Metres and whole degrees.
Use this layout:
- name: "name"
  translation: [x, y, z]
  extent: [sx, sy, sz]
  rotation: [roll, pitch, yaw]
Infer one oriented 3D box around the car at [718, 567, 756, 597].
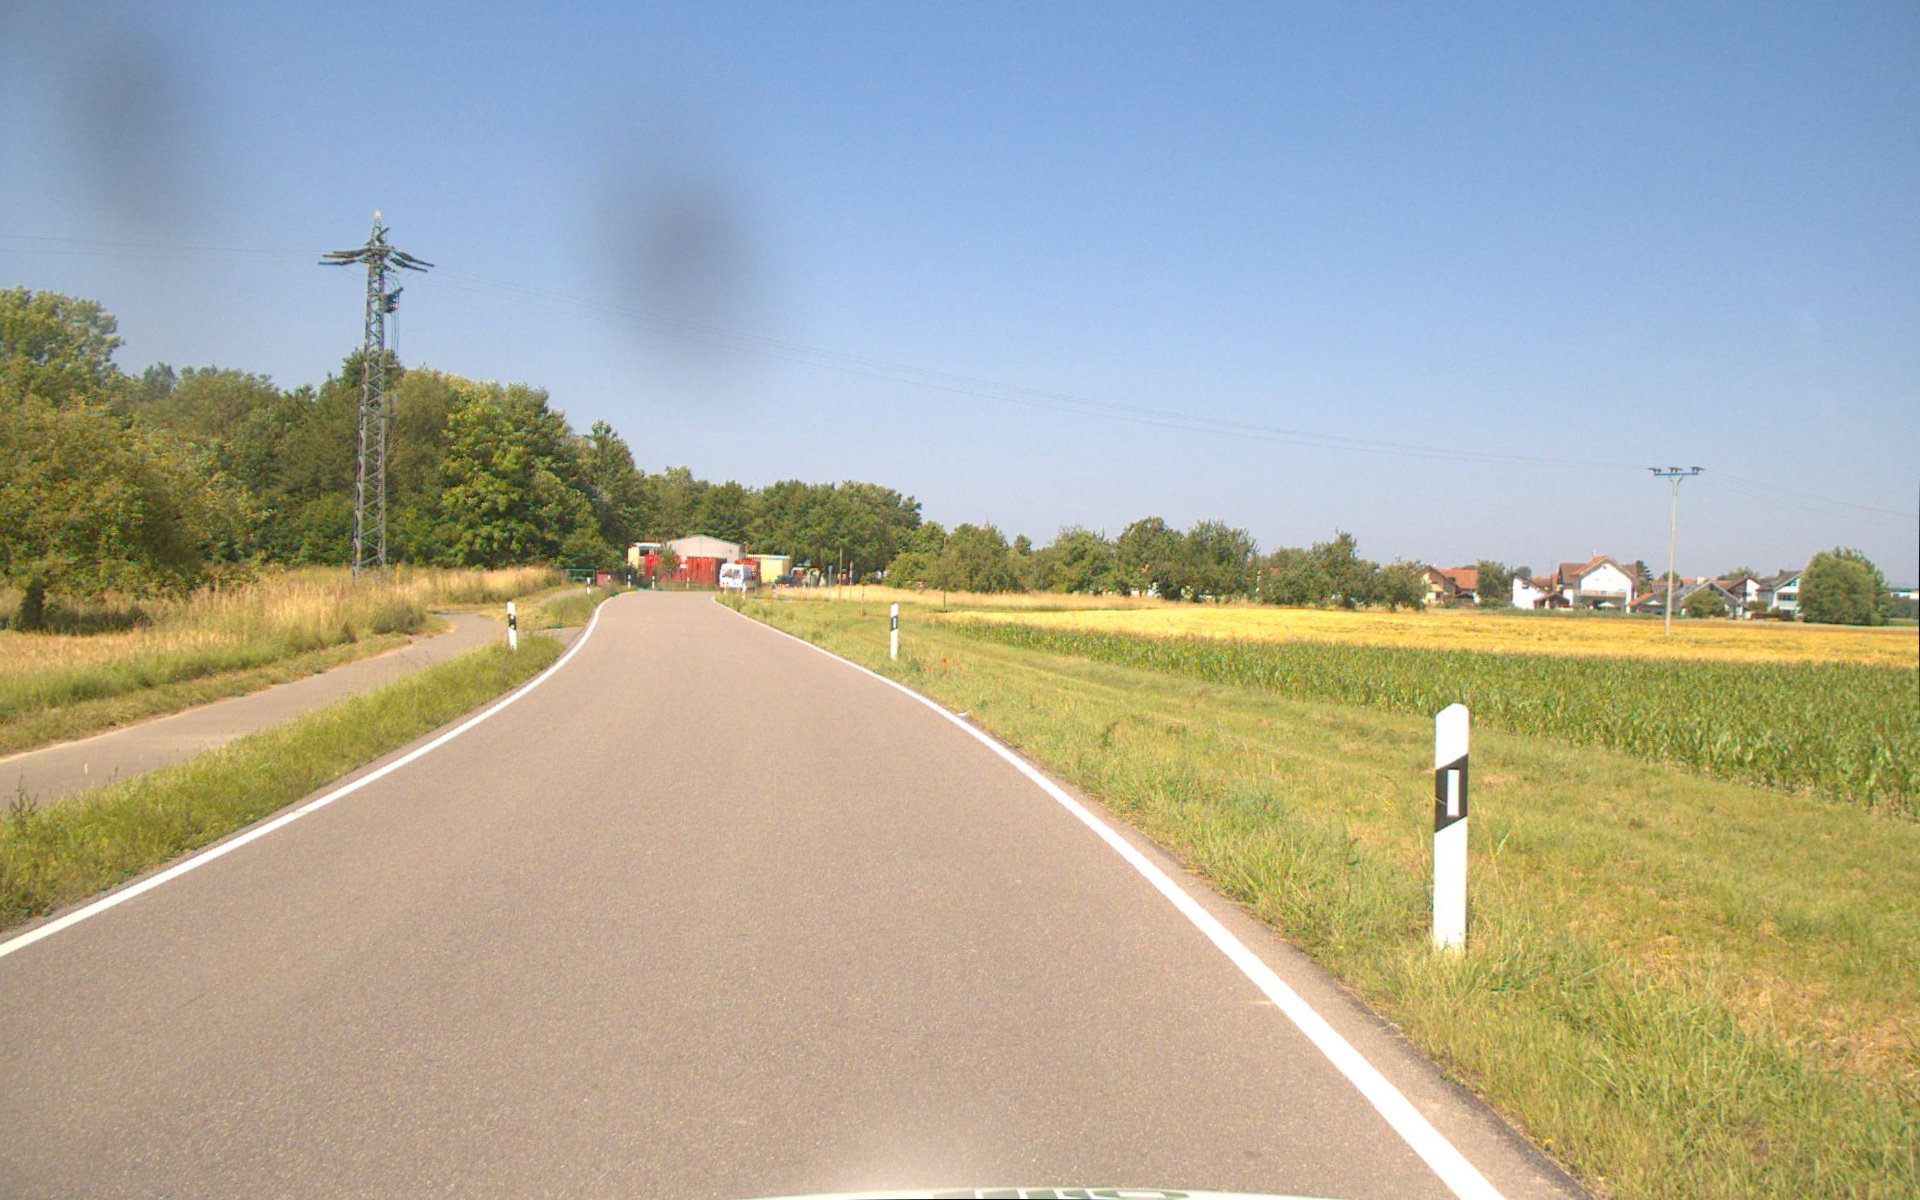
- name: "car"
  translation: [-18.072, -1.433, 134.446]
  extent: [1.951, 2.305, 4.729]
  rotation: [2, 1, 5]
